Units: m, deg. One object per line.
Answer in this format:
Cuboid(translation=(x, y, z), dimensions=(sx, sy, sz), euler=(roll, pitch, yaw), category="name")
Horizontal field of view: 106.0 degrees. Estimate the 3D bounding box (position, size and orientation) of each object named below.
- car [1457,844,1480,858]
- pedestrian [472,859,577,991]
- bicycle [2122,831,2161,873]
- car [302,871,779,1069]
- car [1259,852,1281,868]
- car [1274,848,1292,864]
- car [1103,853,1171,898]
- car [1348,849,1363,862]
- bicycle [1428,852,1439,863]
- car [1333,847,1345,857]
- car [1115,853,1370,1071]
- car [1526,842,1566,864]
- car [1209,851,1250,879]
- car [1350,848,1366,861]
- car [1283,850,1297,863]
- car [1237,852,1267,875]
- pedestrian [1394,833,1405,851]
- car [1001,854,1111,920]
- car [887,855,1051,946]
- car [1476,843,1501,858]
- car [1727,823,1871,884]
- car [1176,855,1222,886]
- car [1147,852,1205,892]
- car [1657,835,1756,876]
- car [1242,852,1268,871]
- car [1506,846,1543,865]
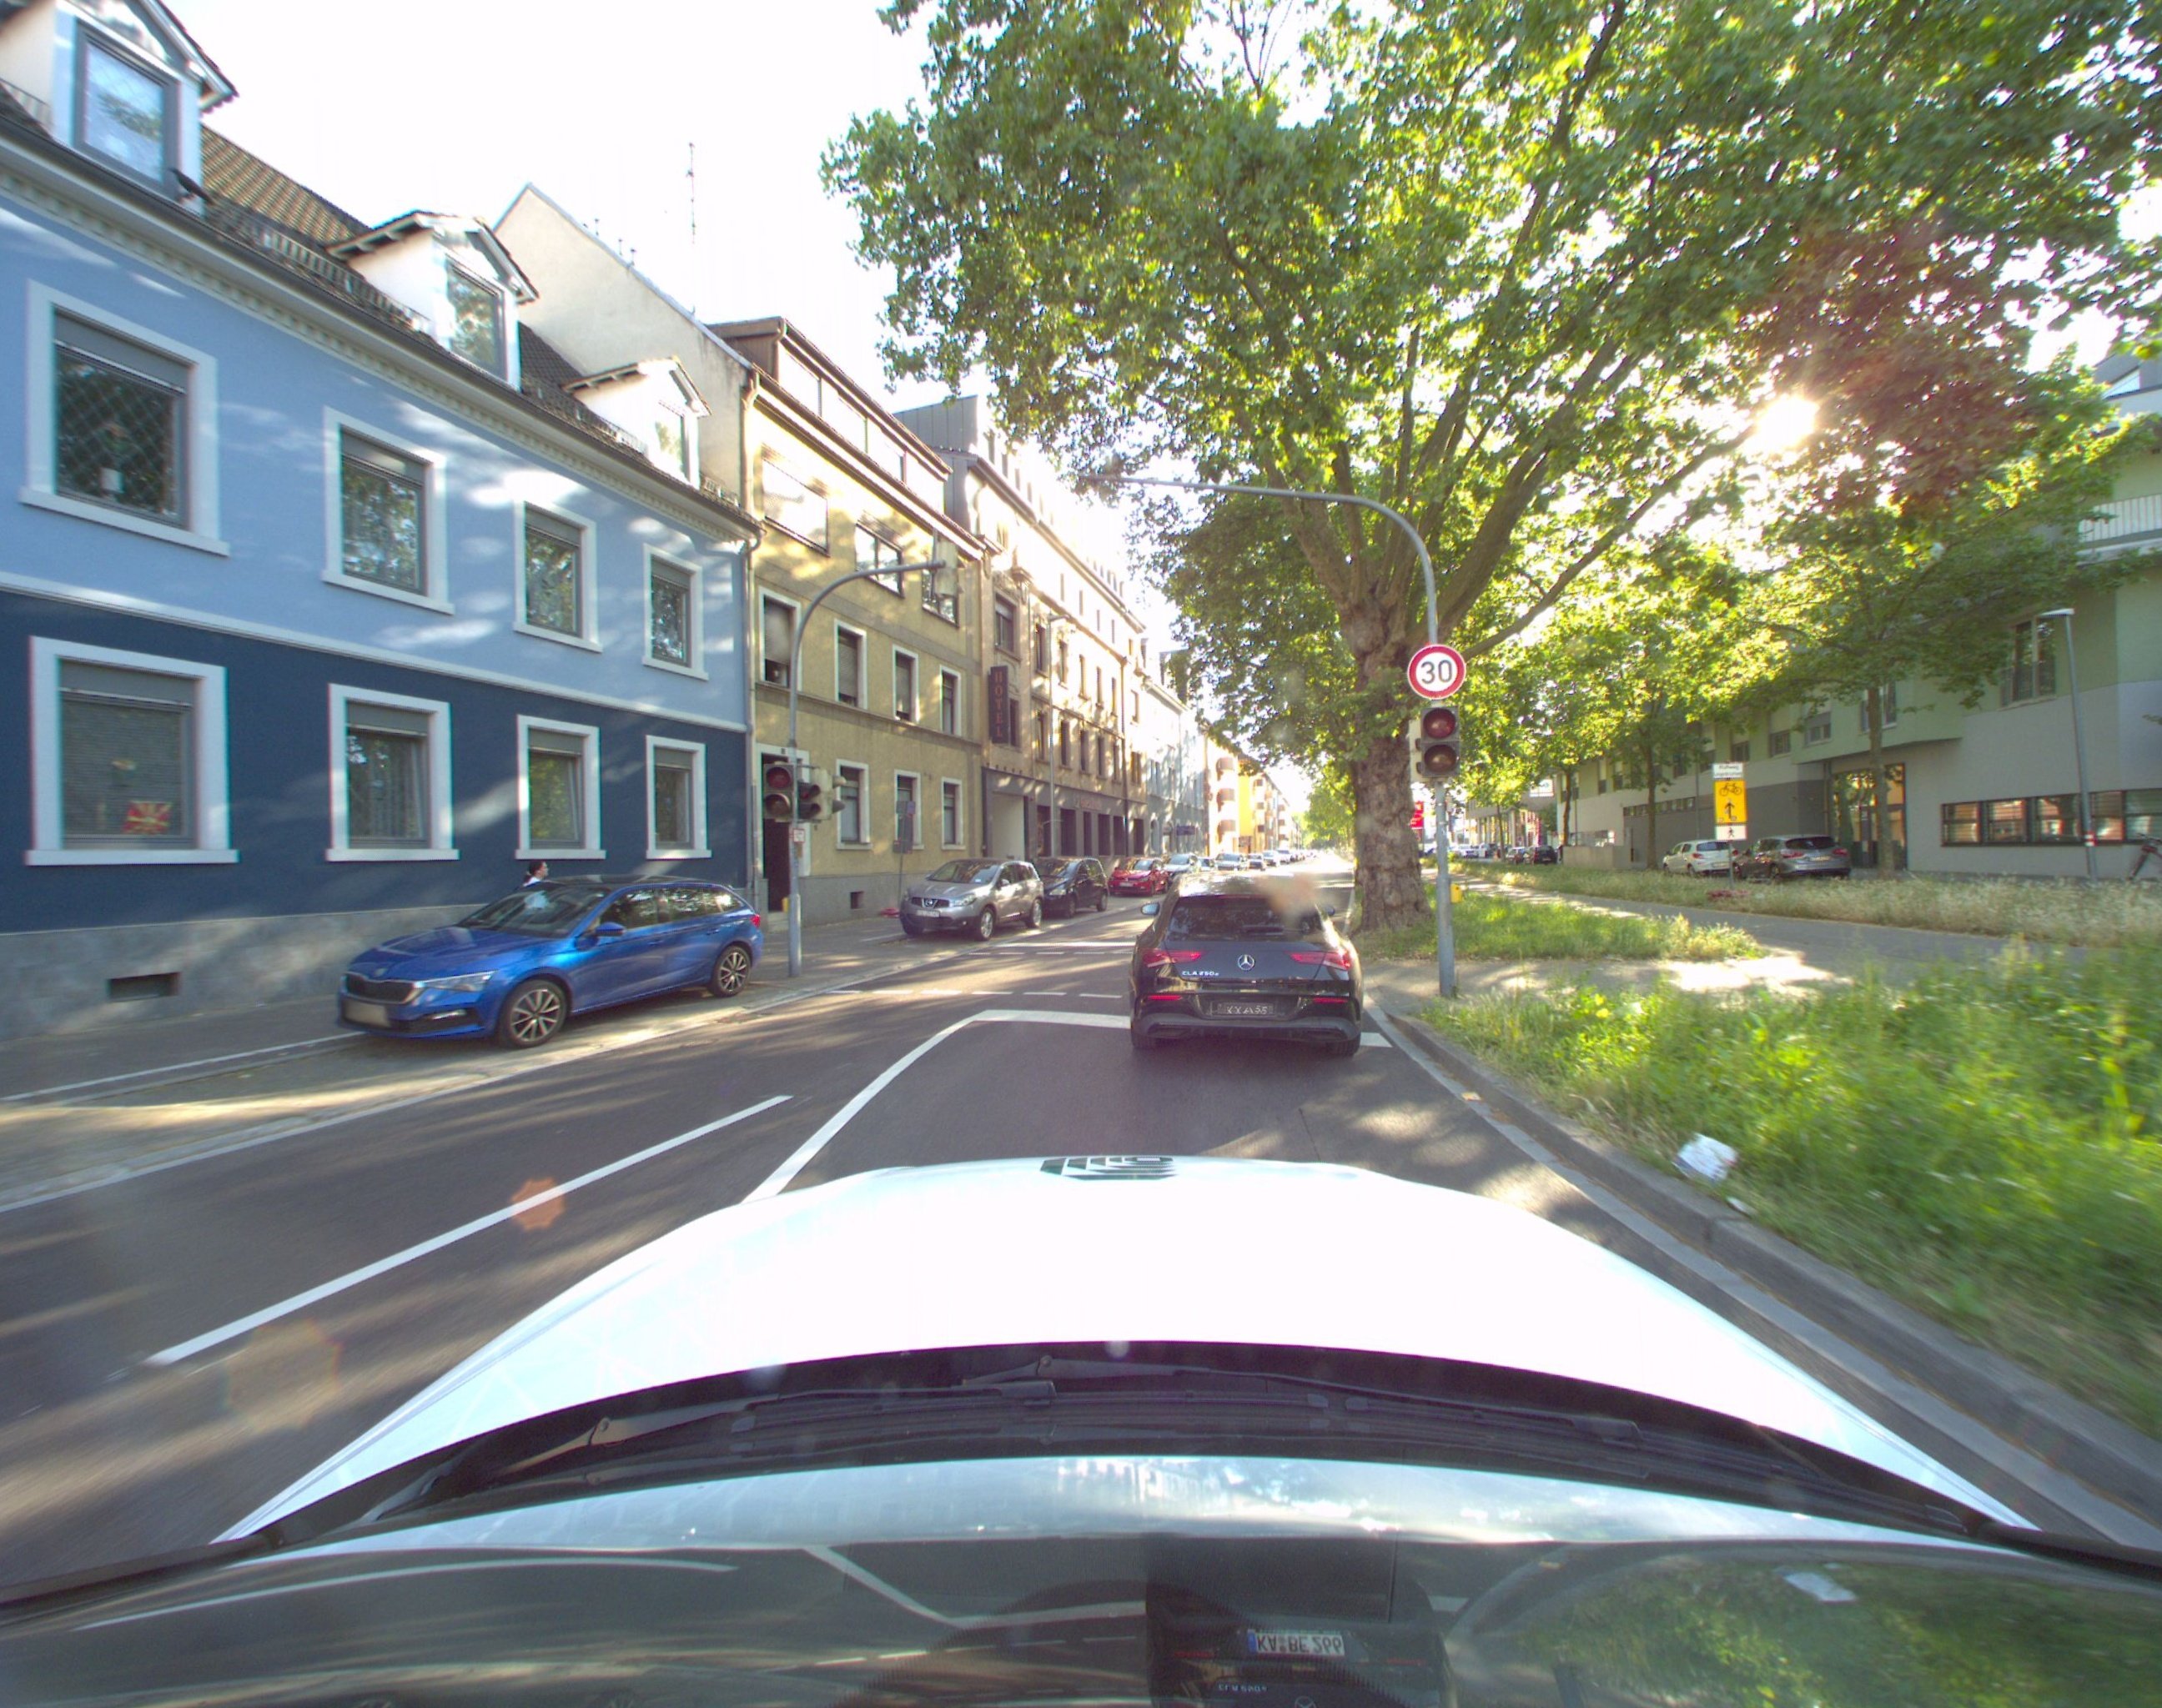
Cuboid(translation=(47.199, -0.371, 99.256), dimensions=(1.861, 1.733, 4.197), euler=(-2, 0, 15), category="car")
Cuboid(translation=(-7.035, 0.858, 10.308), dimensions=(0.697, 1.570, 0.871), euler=(-2, 0, 34), category="pedestrian")
Cuboid(translation=(26.824, -0.073, 19.853), dimensions=(1.659, 1.018, 0.592), euler=(-2, 0, 37), category="bicycle")
Cuboid(translation=(-5.424, 1.001, 8.971), dimensions=(1.637, 1.486, 4.282), euler=(0, 0, 17), category="car")
Cuboid(translation=(18.531, 0.541, 79.749), dimensions=(1.664, 1.523, 4.040), euler=(0, 0, 19), category="car")
Cuboid(translation=(24.676, 0.170, 99.378), dimensions=(1.720, 1.907, 5.234), euler=(0, 0, 19), category="car")
Cuboid(translation=(2.220, 0.780, 31.325), dimensions=(1.664, 1.592, 3.775), euler=(0, 0, 19), category="car")
Cuboid(translation=(36.082, 0.237, 107.114), dimensions=(1.796, 1.539, 4.604), euler=(-4, -2, 18), category="car")
Cuboid(translation=(33.681, 0.349, 77.852), dimensions=(0.381, 1.003, 1.487), euler=(-2, 0, 2), category="bicycle")
Cuboid(translation=(54.200, -0.391, 171.139), dimensions=(1.979, 2.014, 4.015), euler=(-1, -1, 14), category="car")
Cuboid(translation=(1.361, 0.736, 7.622), dimensions=(1.735, 1.443, 3.977), euler=(0, 0, 7), category="car")
Cuboid(translation=(34.367, -0.103, 60.281), dimensions=(1.844, 1.552, 3.777), euler=(-2, 0, 18), category="car")
Cuboid(translation=(9.512, 0.649, 51.912), dimensions=(1.892, 1.641, 4.599), euler=(0, 0, 19), category="car")
Cuboid(translation=(34.193, 0.065, 100.515), dimensions=(1.622, 1.468, 4.038), euler=(-3, -1, 16), category="car")
Cuboid(translation=(28.821, 0.328, 112.050), dimensions=(1.732, 1.787, 4.569), euler=(0, 0, 16), category="car")
Cuboid(translation=(12.669, 0.684, 60.079), dimensions=(1.664, 1.641, 4.004), euler=(0, 0, 19), category="car")
Cuboid(translation=(31.540, -1.180, 80.577), dimensions=(0.763, 1.761, 0.665), euler=(-3, -1, 7), category="pedestrian")
Cuboid(translation=(-0.585, 0.829, 22.248), dimensions=(1.663, 1.605, 3.725), euler=(0, 0, 21), category="car")
Cuboid(translation=(-2.233, 0.870, 17.457), dimensions=(1.767, 1.673, 4.176), euler=(0, 0, 19), category="car")
Cuboid(translation=(49.220, -0.377, 98.418), dimensions=(1.970, 1.733, 4.198), euler=(-2, 0, 16), category="car")
Cuboid(translation=(22.768, -0.015, 26.061), dimensions=(1.889, 1.771, 4.340), euler=(-2, 0, 18), category="car")
Cuboid(translation=(6.132, 0.796, 42.011), dimensions=(1.664, 1.496, 3.890), euler=(0, 0, 19), category="car")
Cuboid(translation=(4.257, 0.742, 35.867), dimensions=(1.664, 1.584, 4.220), euler=(0, 0, 19), category="car")
Cuboid(translation=(25.316, 0.049, 33.166), dimensions=(1.844, 1.543, 4.340), euler=(-2, 0, 18), category="car")
Cuboid(translation=(14.451, 0.628, 67.412), dimensions=(1.664, 1.486, 3.619), euler=(0, 0, 19), category="car")
Cuboid(translation=(36.341, 0.071, 66.822), dimensions=(1.845, 1.468, 4.141), euler=(-2, 0, 16), category="car")
